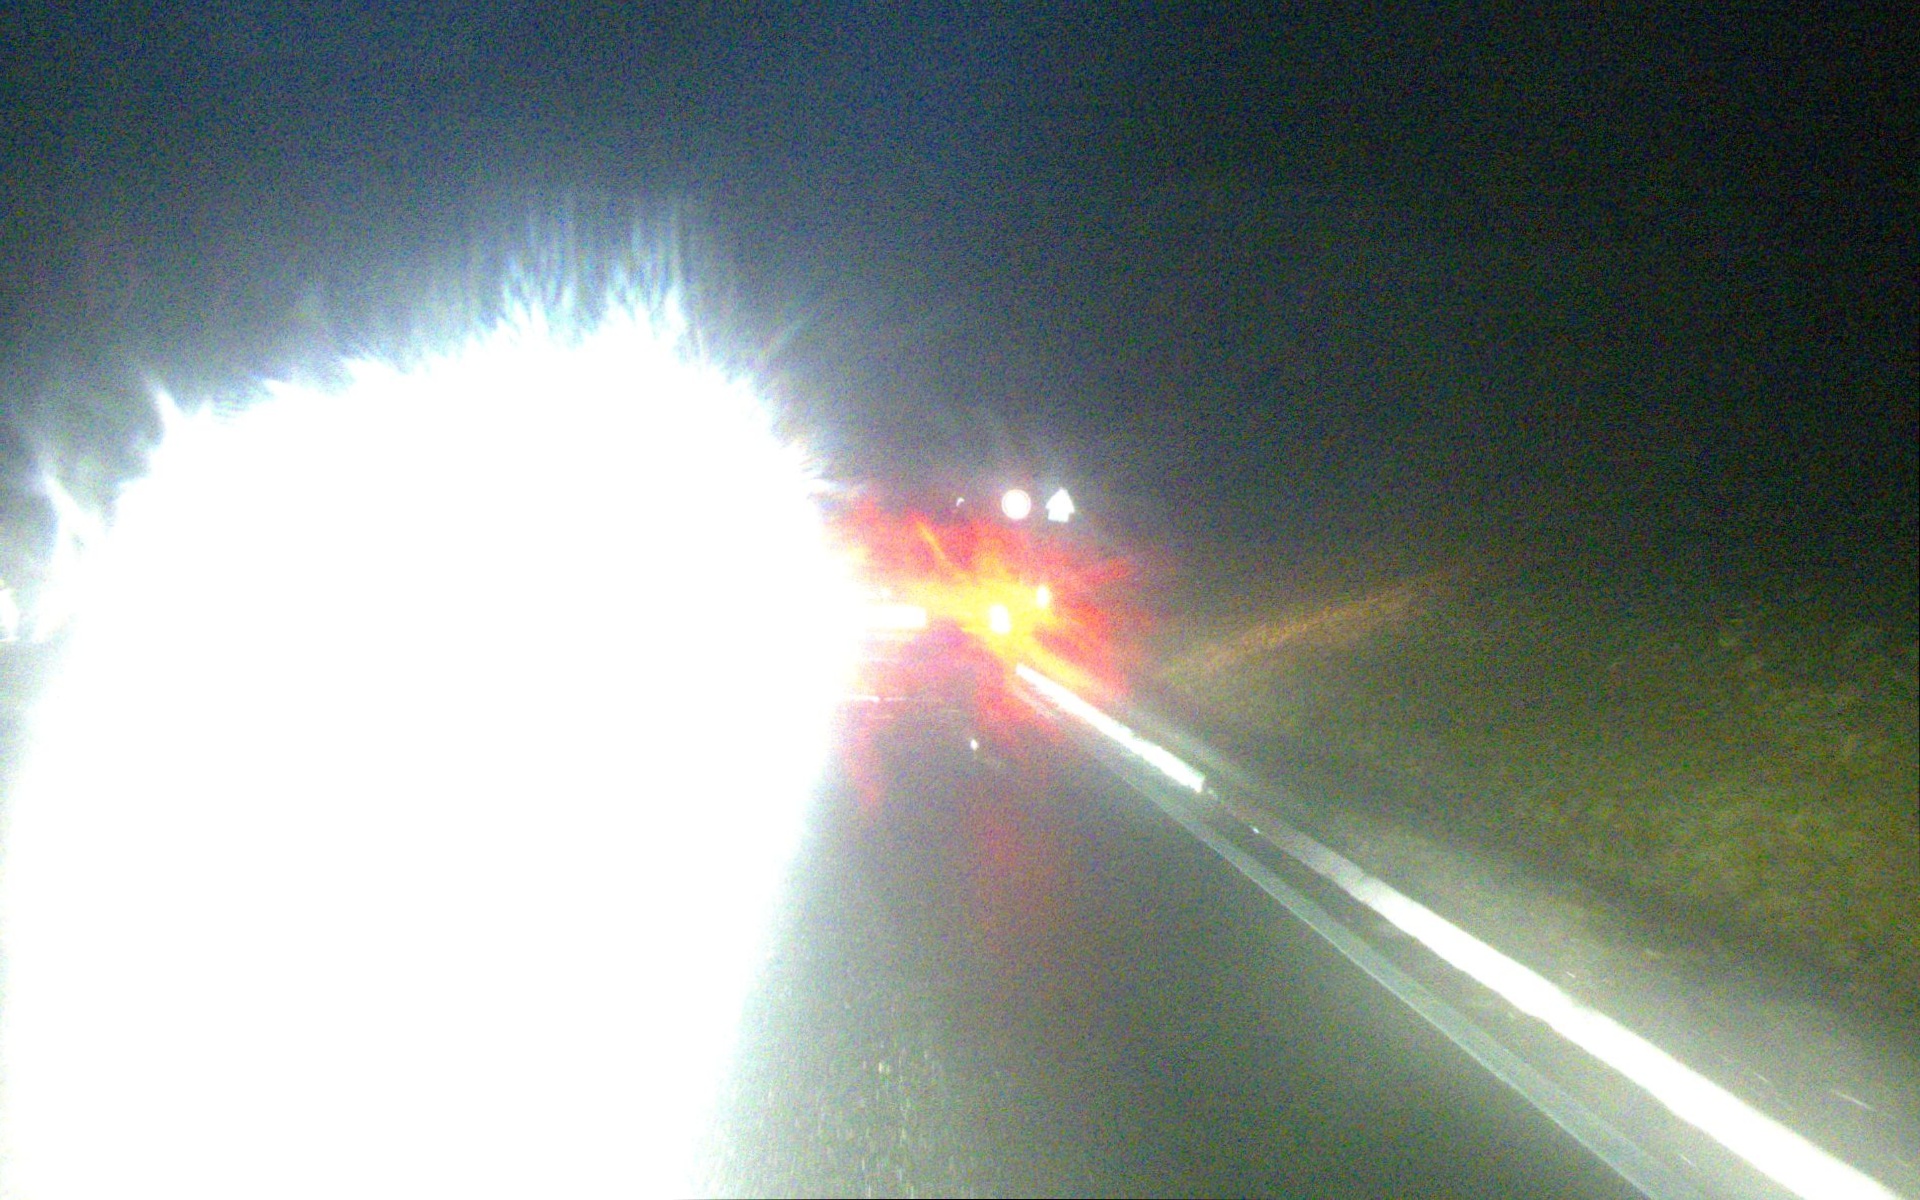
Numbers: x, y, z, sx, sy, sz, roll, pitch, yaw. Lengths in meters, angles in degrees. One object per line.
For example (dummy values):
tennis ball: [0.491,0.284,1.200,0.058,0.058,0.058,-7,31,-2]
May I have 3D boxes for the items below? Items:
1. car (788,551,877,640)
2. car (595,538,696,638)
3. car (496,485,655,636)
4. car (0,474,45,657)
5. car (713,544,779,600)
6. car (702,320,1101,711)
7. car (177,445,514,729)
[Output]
car: [-2.665,-0.075,72.660,1.740,1.708,3.700,2,-1,-1]
car: [-6.398,-0.246,70.278,1.891,1.904,3.796,2,0,-4]
car: [-5.615,-0.571,50.654,1.993,2.060,4.000,2,0,-3]
car: [-11.570,-0.324,33.313,4.911,1.729,2.000,-1,1,-4]
car: [-6.072,-0.786,97.770,1.660,1.476,3.585,2,0,-1]
car: [-0.495,-0.615,24.961,2.538,2.489,5.715,-1,1,-2]
car: [-4.135,-0.147,23.692,1.753,1.728,4.001,2,2,-3]
